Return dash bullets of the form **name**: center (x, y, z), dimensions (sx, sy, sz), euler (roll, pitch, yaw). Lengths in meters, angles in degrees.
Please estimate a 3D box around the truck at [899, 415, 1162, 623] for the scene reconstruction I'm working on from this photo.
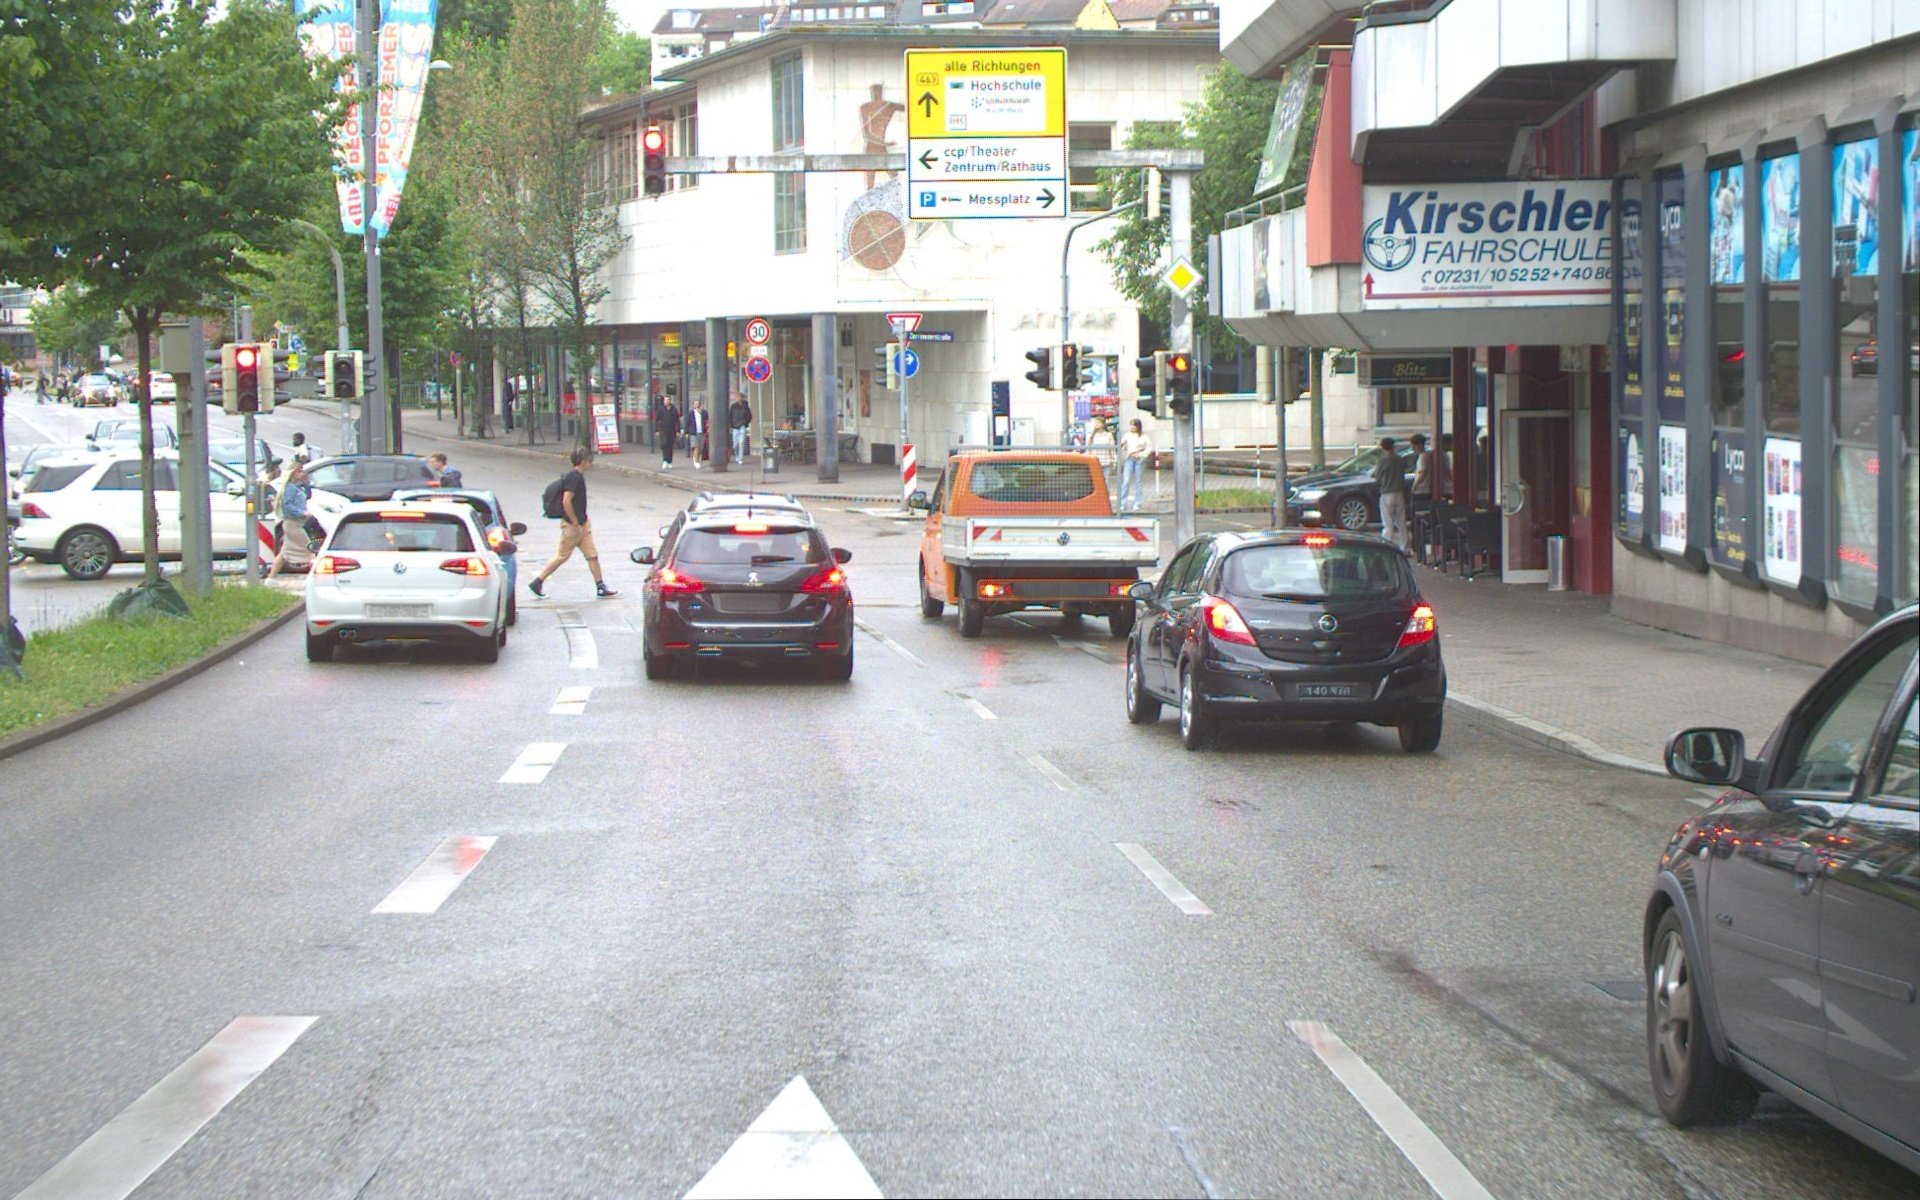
- **truck**: center (0.675, -0.928, 37.686), dimensions (2.183, 2.075, 5.605), euler (-1, 2, -6)

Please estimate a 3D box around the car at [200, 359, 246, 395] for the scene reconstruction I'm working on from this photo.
- **car**: center (-35.737, -10.809, 166.750), dimensions (1.831, 1.583, 3.875), euler (-1, 2, -17)

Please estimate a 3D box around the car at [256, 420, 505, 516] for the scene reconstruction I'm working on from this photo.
- **car**: center (-9.646, -2.201, 57.449), dimensions (3.986, 1.522, 1.848), euler (-1, 2, -6)

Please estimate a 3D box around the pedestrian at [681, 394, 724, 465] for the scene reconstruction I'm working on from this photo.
- **pedestrian**: center (-6.693, -4.432, 89.374), dimensions (0.846, 1.796, 1.056), euler (-3, 2, -17)

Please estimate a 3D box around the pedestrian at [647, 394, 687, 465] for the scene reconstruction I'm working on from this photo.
- **pedestrian**: center (-7.644, -4.429, 89.557), dimensions (0.798, 1.796, 0.918), euler (-3, 2, -17)

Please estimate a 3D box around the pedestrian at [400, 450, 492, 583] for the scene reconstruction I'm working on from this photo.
- **pedestrian**: center (-6.827, -1.117, 45.676), dimensions (1.010, 1.716, 0.838), euler (-2, 2, 2)

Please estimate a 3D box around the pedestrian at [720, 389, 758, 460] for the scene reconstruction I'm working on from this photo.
- **pedestrian**: center (-5.777, -4.579, 89.824), dimensions (0.702, 1.796, 0.939), euler (-3, 2, -17)

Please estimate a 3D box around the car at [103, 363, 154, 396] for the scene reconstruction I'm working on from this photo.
- **car**: center (-41.543, -11.000, 171.748), dimensions (1.748, 1.549, 3.570), euler (-2, 2, -26)

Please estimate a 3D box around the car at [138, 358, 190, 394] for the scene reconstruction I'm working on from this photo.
- **car**: center (-38.041, -10.687, 164.236), dimensions (1.993, 1.590, 4.001), euler (-1, 2, -18)

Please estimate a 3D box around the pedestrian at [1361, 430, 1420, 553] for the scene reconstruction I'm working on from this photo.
- **pedestrian**: center (6.036, -1.528, 48.222), dimensions (0.575, 1.694, 0.651), euler (-2, 2, -12)

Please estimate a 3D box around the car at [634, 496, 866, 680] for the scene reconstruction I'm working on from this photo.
- **car**: center (-1.925, -0.154, 30.433), dimensions (1.811, 1.436, 4.001), euler (0, 3, -7)

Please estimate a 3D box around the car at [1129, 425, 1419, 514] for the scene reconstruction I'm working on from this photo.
- **car**: center (5.242, -2.187, 57.571), dimensions (4.396, 1.431, 2.001), euler (-1, 2, -17)

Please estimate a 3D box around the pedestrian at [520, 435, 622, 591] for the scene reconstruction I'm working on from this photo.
- **pedestrian**: center (-4.815, -1.081, 42.621), dimensions (1.063, 1.875, 0.838), euler (-2, 2, 4)

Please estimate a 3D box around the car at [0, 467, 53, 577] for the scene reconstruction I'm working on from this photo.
- **car**: center (-16.139, -1.191, 51.880), dimensions (4.681, 1.638, 1.787), euler (0, 2, -17)

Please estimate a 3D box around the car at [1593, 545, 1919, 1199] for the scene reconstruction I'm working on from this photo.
- **car**: center (2.588, 0.618, 7.413), dimensions (1.717, 1.415, 3.770), euler (-1, 2, 0)

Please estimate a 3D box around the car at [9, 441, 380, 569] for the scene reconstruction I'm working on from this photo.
- **car**: center (-10.952, -1.347, 49.162), dimensions (5.070, 1.753, 2.001), euler (0, 2, -15)

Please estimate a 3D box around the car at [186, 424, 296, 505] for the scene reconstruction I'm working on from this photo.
- **car**: center (-14.326, -2.705, 68.689), dimensions (1.819, 1.543, 4.001), euler (-1, 2, -7)

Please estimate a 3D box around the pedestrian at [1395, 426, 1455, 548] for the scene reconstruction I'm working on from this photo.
- **pedestrian**: center (6.584, -1.603, 48.706), dimensions (0.575, 1.694, 0.651), euler (-3, 2, -17)

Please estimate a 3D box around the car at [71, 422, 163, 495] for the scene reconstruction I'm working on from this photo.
- **car**: center (-18.407, -3.087, 75.184), dimensions (1.777, 1.543, 4.002), euler (-1, 2, -11)

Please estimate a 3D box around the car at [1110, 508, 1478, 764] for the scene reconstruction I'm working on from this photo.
- **car**: center (2.224, 0.177, 23.939), dimensions (1.949, 1.568, 4.001), euler (-1, 2, -3)

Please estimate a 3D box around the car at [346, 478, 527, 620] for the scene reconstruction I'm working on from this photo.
- **car**: center (-5.835, -0.614, 38.667), dimensions (1.794, 1.463, 4.001), euler (-1, 2, -6)

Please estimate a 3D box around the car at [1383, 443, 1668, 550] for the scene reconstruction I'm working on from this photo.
- **car**: center (9.136, -1.682, 55.632), dimensions (4.147, 1.651, 1.842), euler (-1, 2, -14)

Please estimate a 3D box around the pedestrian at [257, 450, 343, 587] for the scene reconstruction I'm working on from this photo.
- **pedestrian**: center (-8.521, -1.059, 44.414), dimensions (0.835, 1.716, 0.818), euler (-2, 2, 4)

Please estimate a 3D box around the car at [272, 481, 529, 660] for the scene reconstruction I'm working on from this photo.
- **car**: center (-5.239, -0.332, 32.663), dimensions (1.950, 1.568, 4.001), euler (-1, 2, -3)

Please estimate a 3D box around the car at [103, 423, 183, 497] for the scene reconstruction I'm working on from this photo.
- **car**: center (-19.425, -3.321, 81.854), dimensions (1.705, 1.714, 4.002), euler (-1, 2, -11)

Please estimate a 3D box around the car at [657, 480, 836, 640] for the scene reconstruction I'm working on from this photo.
- **car**: center (-2.339, -0.478, 36.910), dimensions (1.760, 1.537, 4.001), euler (-1, 3, -6)
